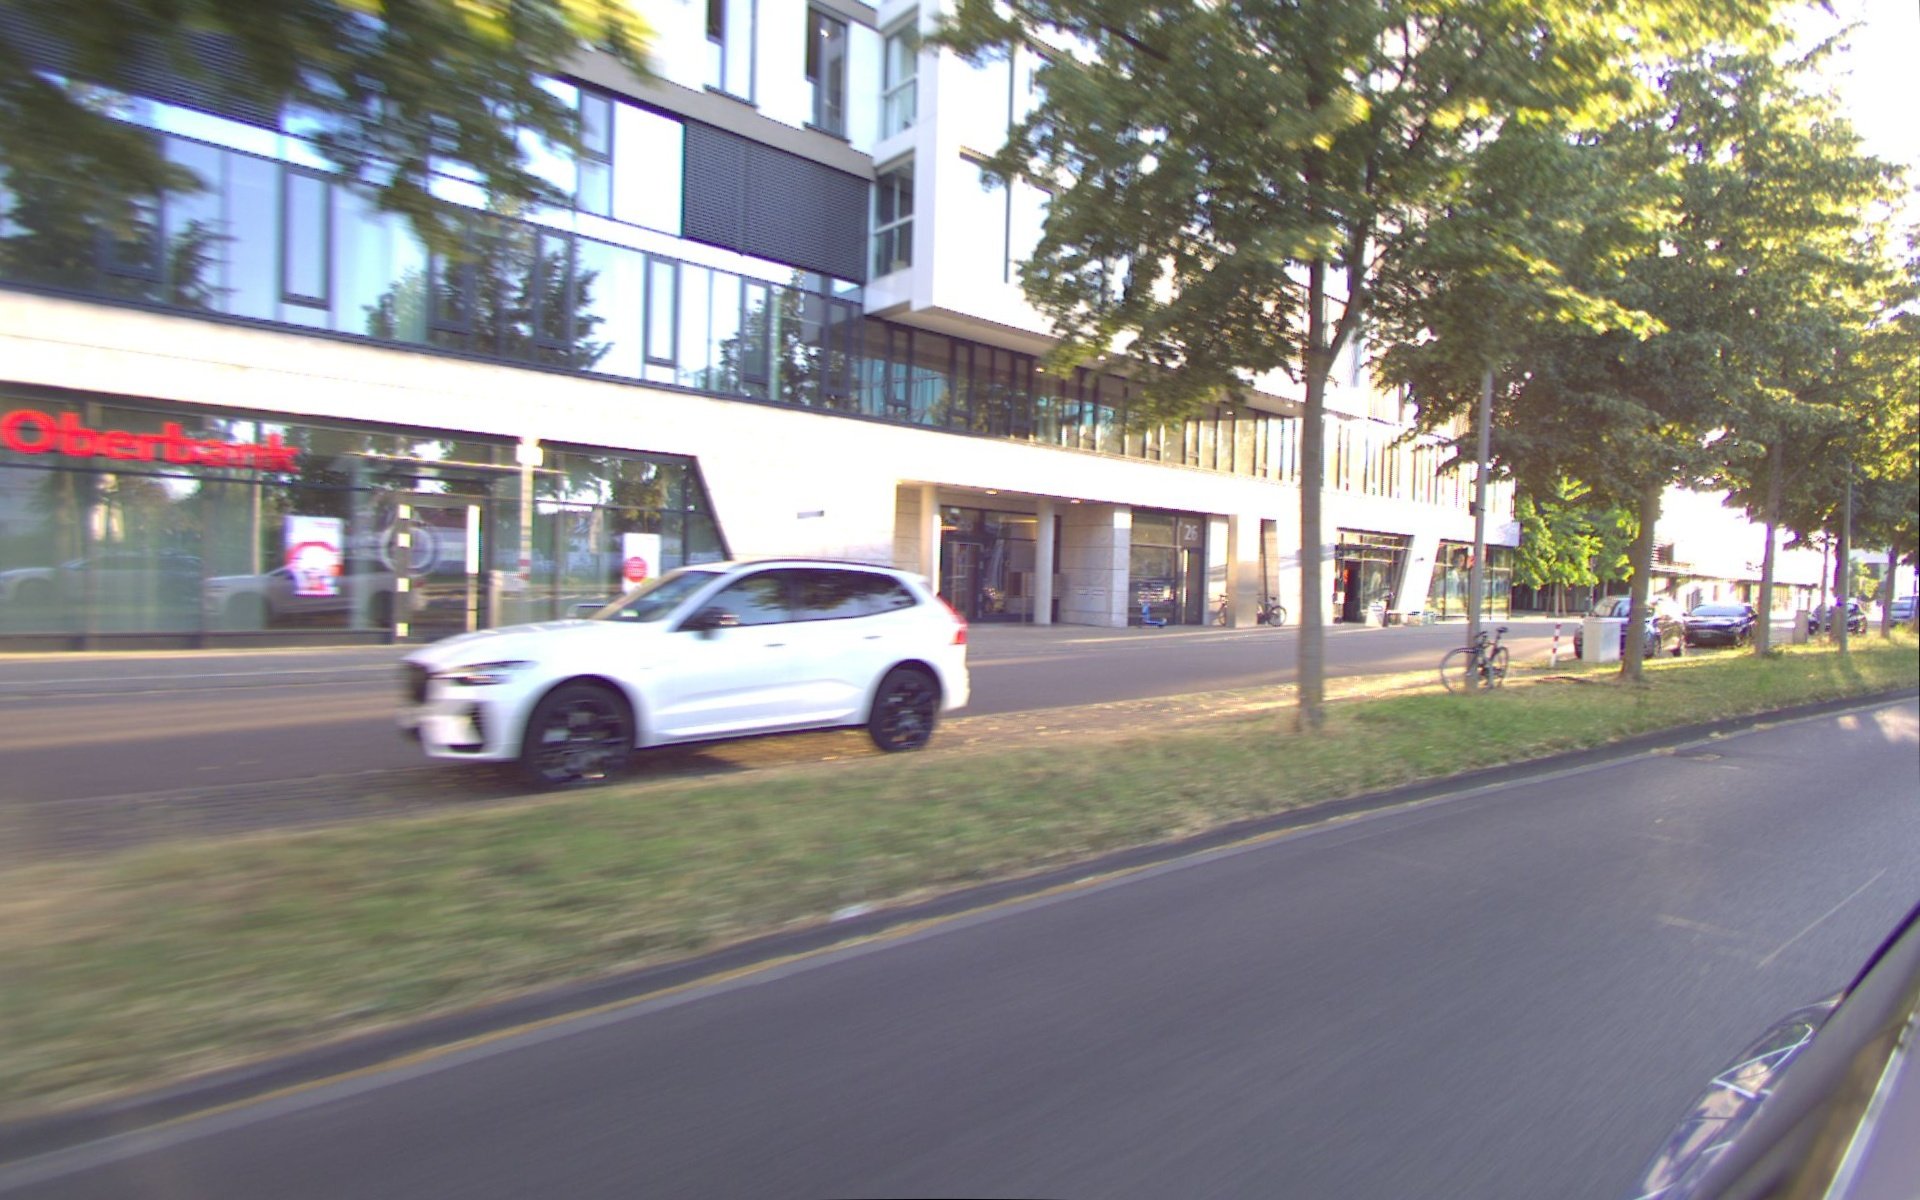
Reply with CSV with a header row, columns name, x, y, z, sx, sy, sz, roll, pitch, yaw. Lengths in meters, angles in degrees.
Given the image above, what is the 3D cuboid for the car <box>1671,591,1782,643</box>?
name,x,y,z,sx,sy,sz,roll,pitch,yaw
car,23.137,0.464,30.488,4.752,1.384,1.855,0,2,-43

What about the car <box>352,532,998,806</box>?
name,x,y,z,sx,sy,sz,roll,pitch,yaw
car,-2.130,0.381,8.439,4.792,1.663,1.998,0,2,-40

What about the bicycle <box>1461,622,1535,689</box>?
name,x,y,z,sx,sy,sz,roll,pitch,yaw
bicycle,7.353,0.741,13.808,1.524,0.833,0.316,0,2,-40

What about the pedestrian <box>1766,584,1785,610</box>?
name,x,y,z,sx,sy,sz,roll,pitch,yaw
pedestrian,58.286,-0.212,72.345,0.897,1.819,0.898,1,1,-42

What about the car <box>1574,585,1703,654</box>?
name,x,y,z,sx,sy,sz,roll,pitch,yaw
car,16.307,0.443,24.273,3.694,1.535,1.712,0,-1,-42

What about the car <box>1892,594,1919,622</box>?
name,x,y,z,sx,sy,sz,roll,pitch,yaw
car,56.343,0.485,59.556,3.991,1.590,1.841,0,1,-42

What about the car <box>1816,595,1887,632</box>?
name,x,y,z,sx,sy,sz,roll,pitch,yaw
car,38.591,0.595,43.784,3.930,1.513,1.783,1,-2,-41

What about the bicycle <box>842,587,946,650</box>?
name,x,y,z,sx,sy,sz,roll,pitch,yaw
bicycle,-1.174,0.315,18.211,1.859,1.052,0.596,0,2,-40

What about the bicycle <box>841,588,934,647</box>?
name,x,y,z,sx,sy,sz,roll,pitch,yaw
bicycle,-1.336,0.312,18.822,1.774,1.052,0.471,0,2,-40

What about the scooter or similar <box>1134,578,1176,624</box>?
name,x,y,z,sx,sy,sz,roll,pitch,yaw
scooter or similar,5.404,0.023,27.996,1.207,1.226,0.473,0,1,-40

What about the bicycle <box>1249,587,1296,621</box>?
name,x,y,z,sx,sy,sz,roll,pitch,yaw
bicycle,9.841,0.120,31.855,1.364,1.040,0.456,1,1,-14
